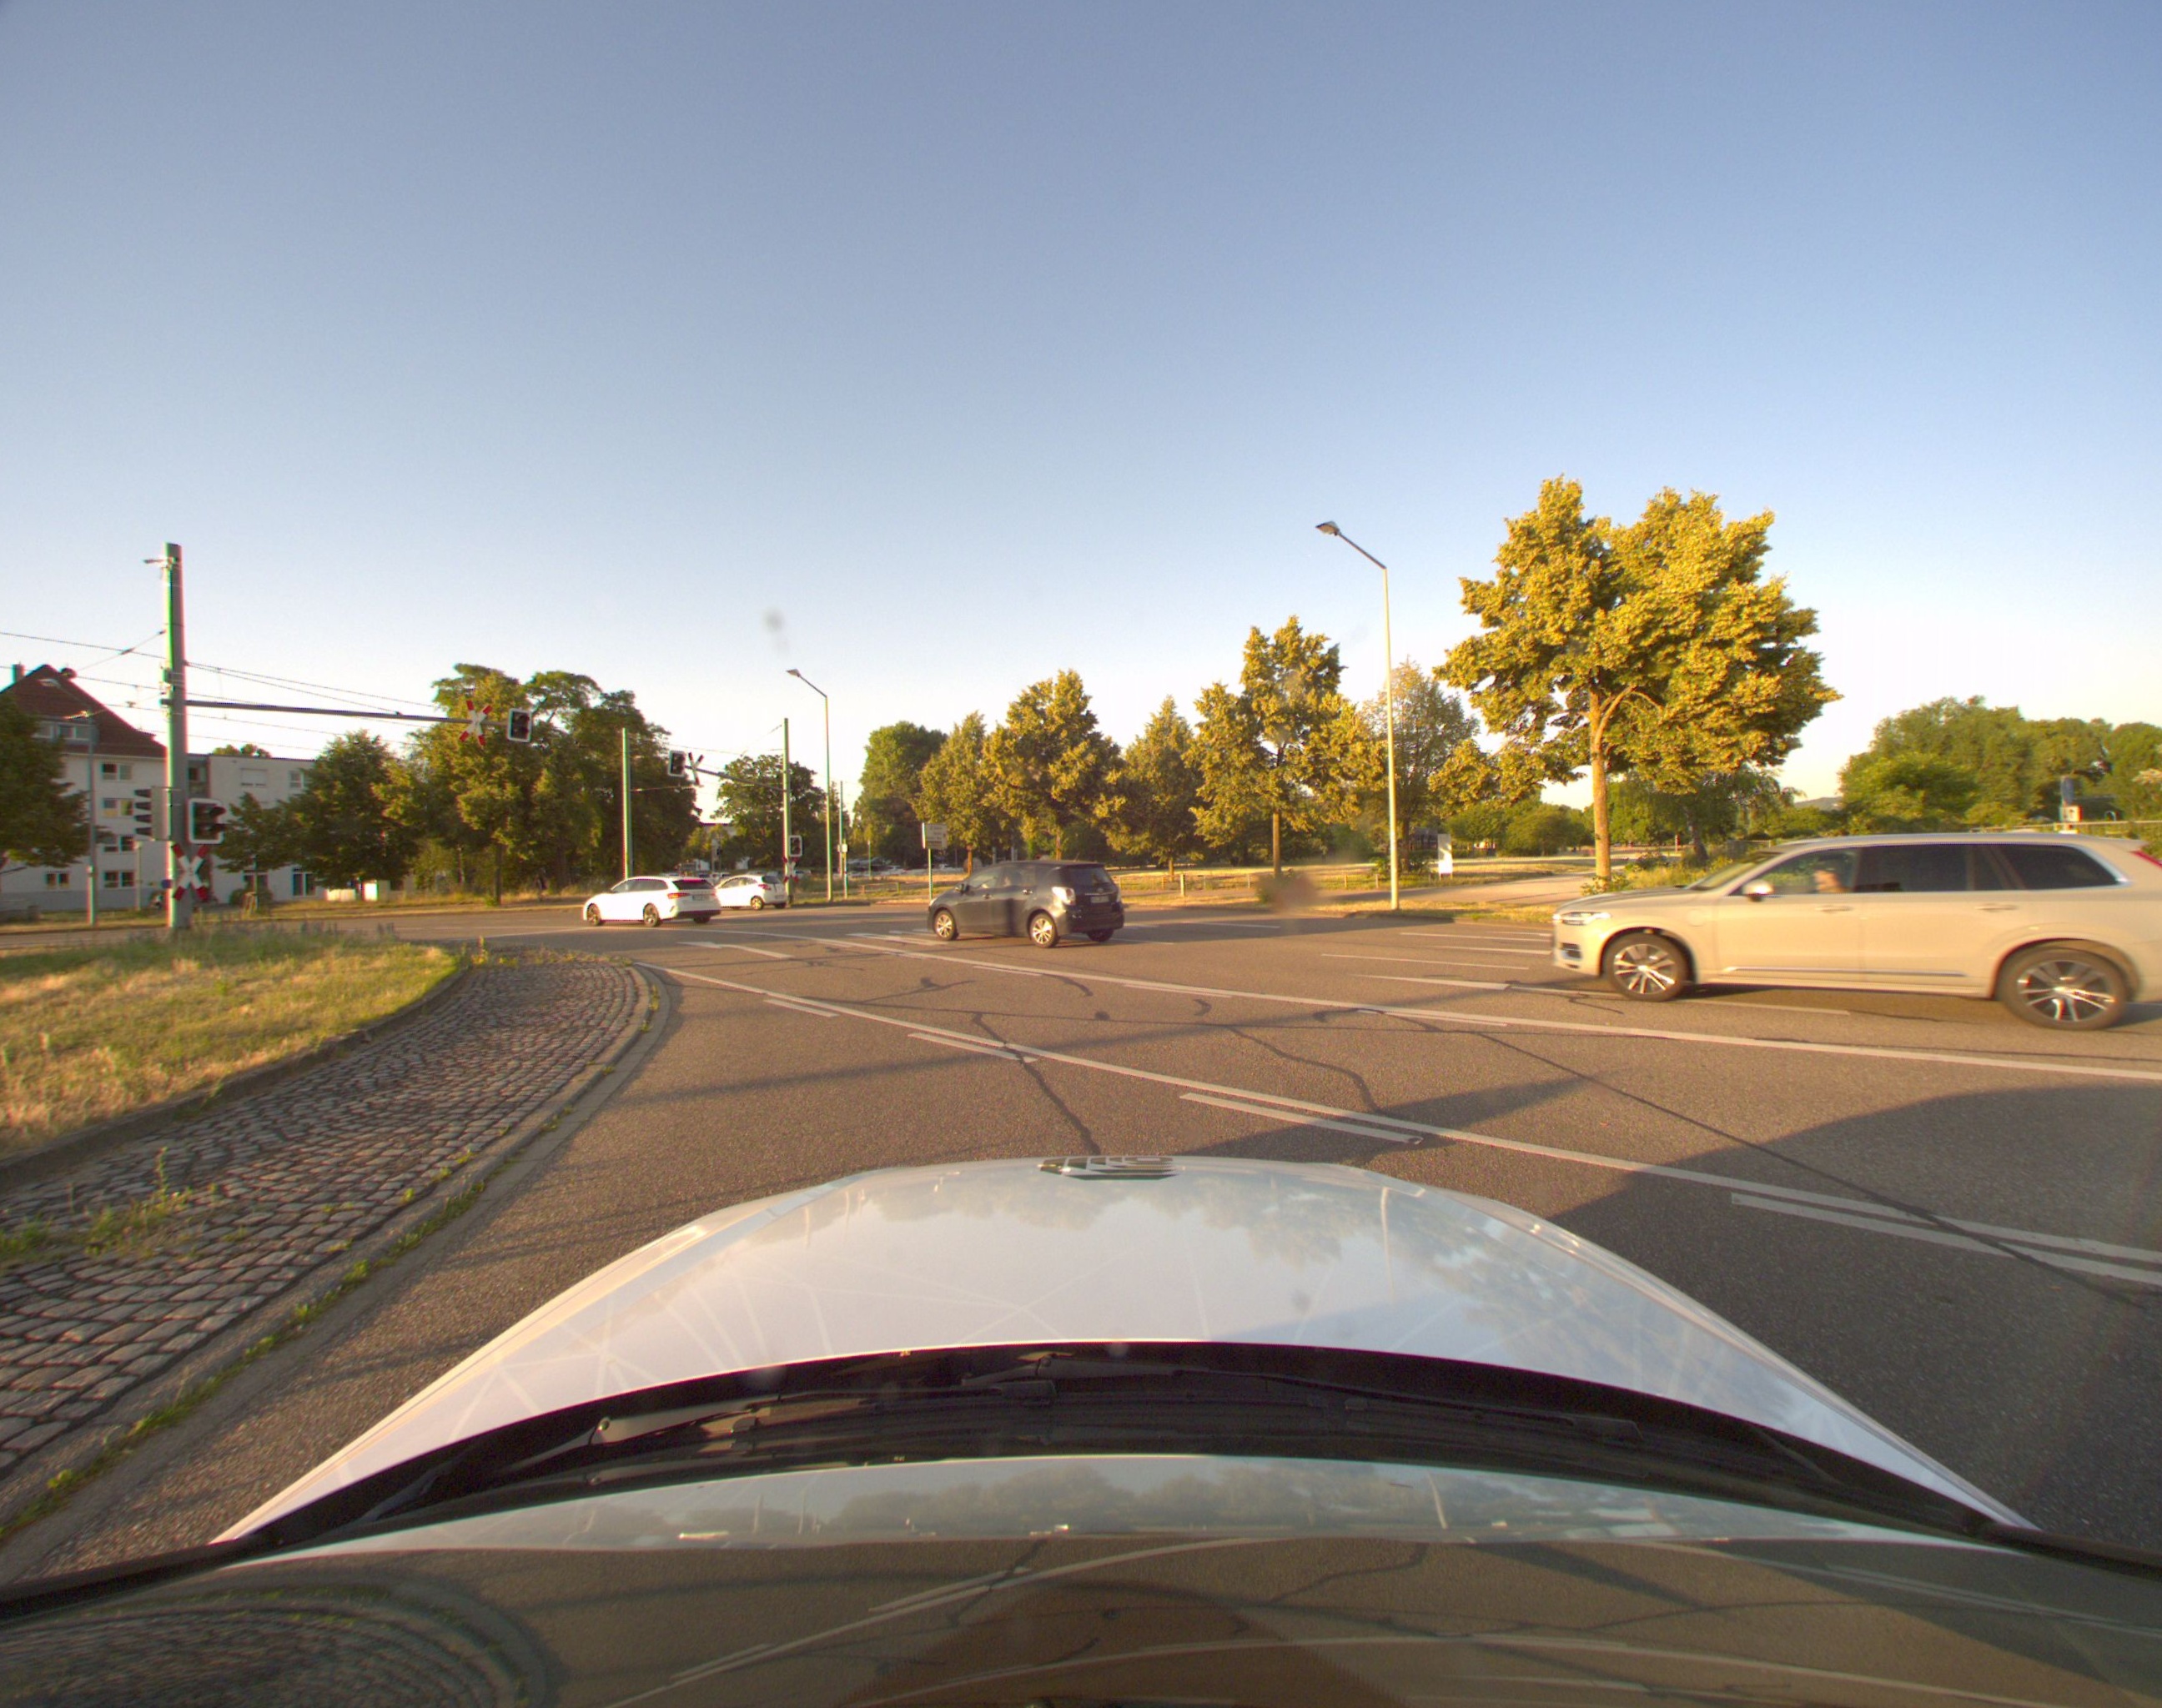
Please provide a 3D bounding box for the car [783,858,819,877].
[{"bbox_3d":[-33.538,1.618,97.590,3.948,2.098,2.013,-2,0,34],"label":"car"}]

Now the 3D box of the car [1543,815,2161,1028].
[{"bbox_3d":[7.697,0.614,8.566,4.858,1.754,1.935,-2,-1,30],"label":"car"}]

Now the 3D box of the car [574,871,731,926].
[{"bbox_3d":[-12.606,1.287,23.924,4.492,1.448,1.738,-2,0,27],"label":"car"}]

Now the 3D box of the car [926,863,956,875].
[{"bbox_3d":[-20.080,2.117,116.856,3.948,1.551,2.013,-2,0,33],"label":"car"}]

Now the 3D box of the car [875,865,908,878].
[{"bbox_3d":[-25.298,2.348,108.782,3.948,1.551,2.013,-2,0,33],"label":"car"}]

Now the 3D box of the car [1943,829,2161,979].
[{"bbox_3d":[13.998,0.543,9.615,4.879,1.710,1.925,-1,0,28],"label":"car"}]

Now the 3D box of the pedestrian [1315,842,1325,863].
[{"bbox_3d":[18.892,-0.117,64.361,0.526,1.626,0.584,-2,-1,40],"label":"pedestrian"}]

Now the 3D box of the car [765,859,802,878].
[{"bbox_3d":[-34.747,1.700,95.108,3.948,2.098,2.013,-2,0,34],"label":"car"}]

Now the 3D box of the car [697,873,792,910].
[{"bbox_3d":[-14.149,1.567,34.297,3.448,1.443,1.561,-1,-1,17],"label":"car"}]

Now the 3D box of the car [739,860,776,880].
[{"bbox_3d":[-36.798,1.803,92.566,3.948,2.098,2.013,-2,0,34],"label":"car"}]

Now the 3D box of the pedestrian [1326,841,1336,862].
[{"bbox_3d":[19.676,-0.166,64.173,0.523,1.626,0.624,-2,-1,41],"label":"pedestrian"}]

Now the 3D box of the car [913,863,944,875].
[{"bbox_3d":[-21.522,2.122,114.864,3.948,1.551,2.013,-2,0,33],"label":"car"}]

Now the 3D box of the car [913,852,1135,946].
[{"bbox_3d":[-1.242,0.838,16.273,4.398,1.633,1.814,-2,-1,40],"label":"car"}]
